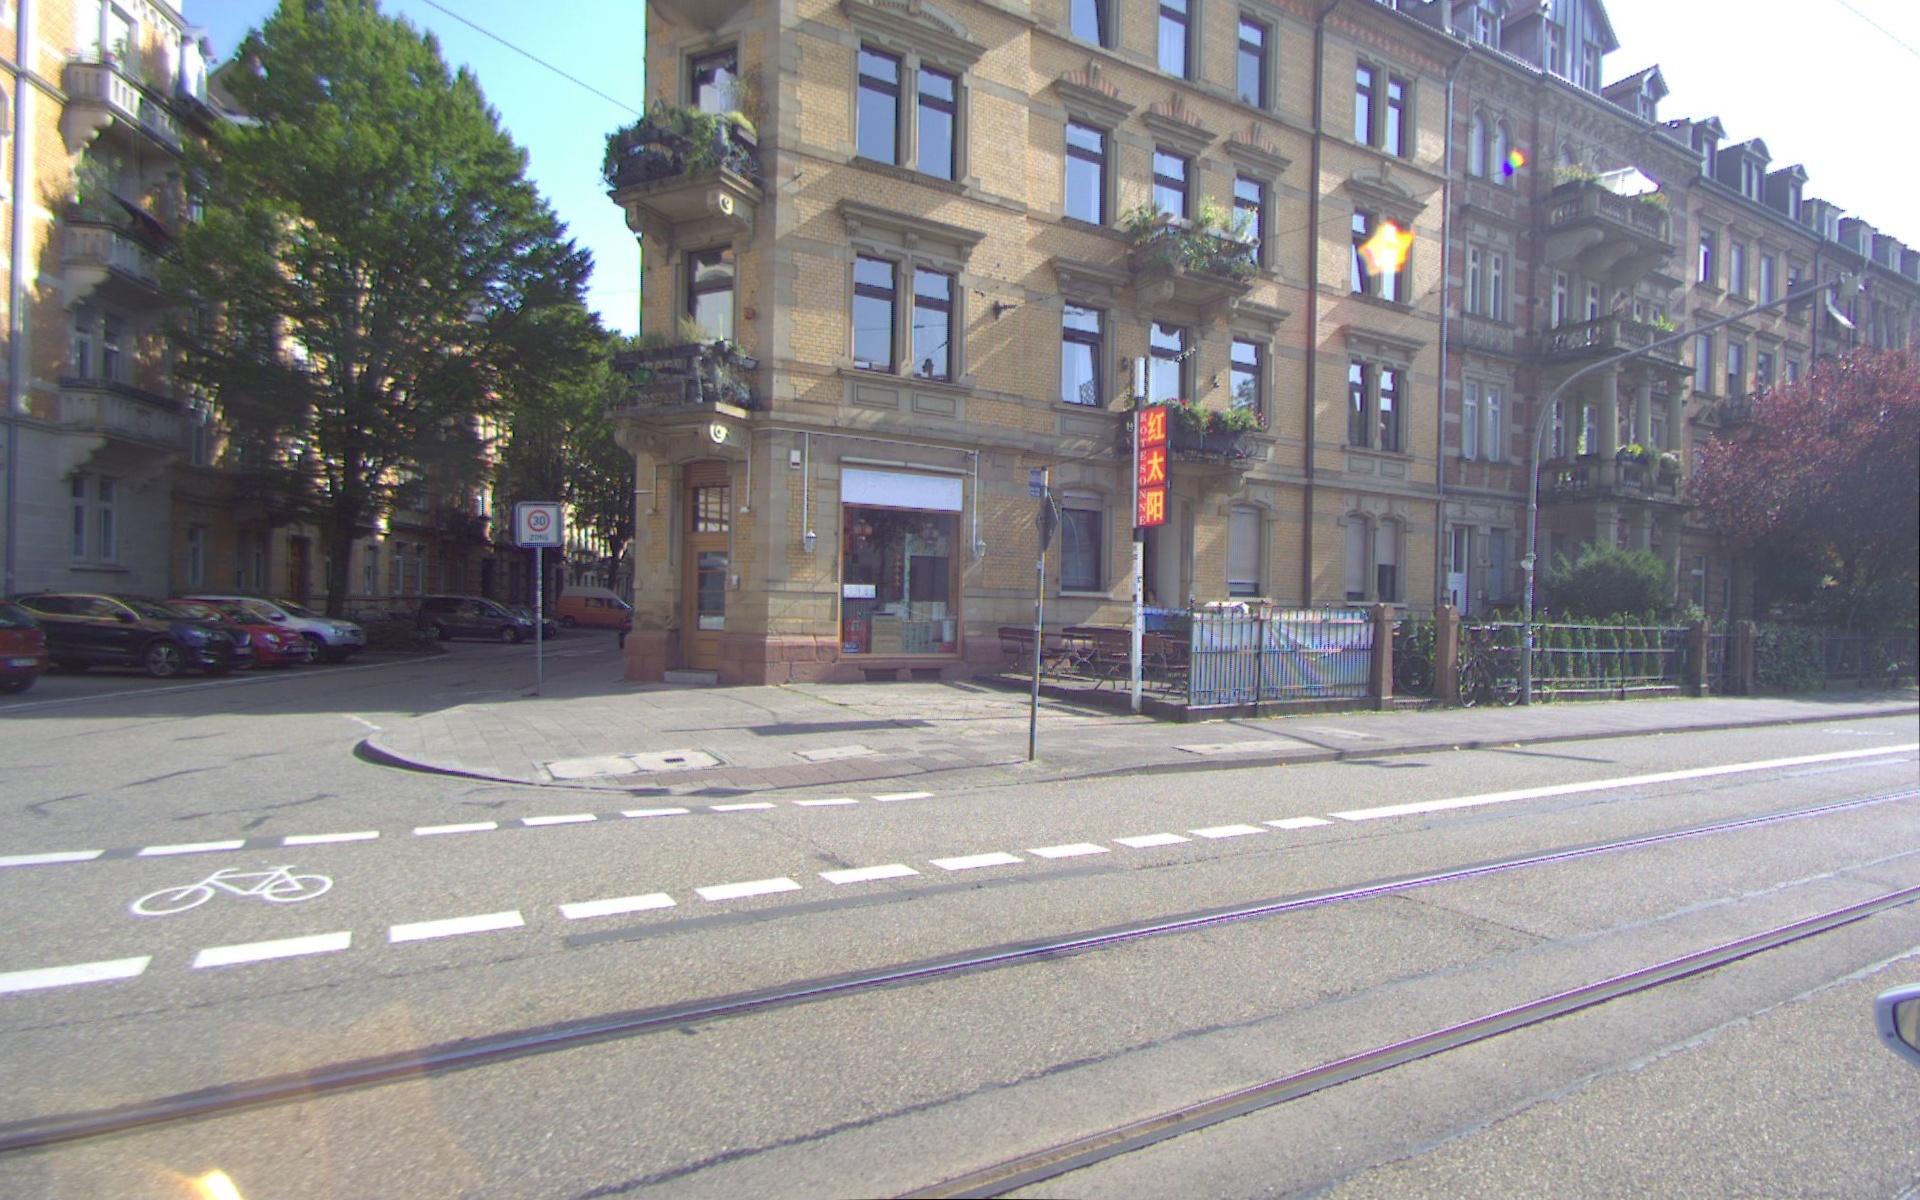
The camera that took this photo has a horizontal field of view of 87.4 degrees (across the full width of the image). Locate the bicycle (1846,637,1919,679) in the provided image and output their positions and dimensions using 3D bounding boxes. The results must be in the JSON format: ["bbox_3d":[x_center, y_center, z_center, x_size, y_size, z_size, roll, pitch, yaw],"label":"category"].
[{"bbox_3d":[26.990,1.670,29.030,0.582,1.118,2.004,1,-1,-32],"label":"bicycle"}]

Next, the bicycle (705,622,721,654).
[{"bbox_3d":[-8.508,1.304,34.606,0.409,1.074,1.359,1,-1,-10],"label":"bicycle"}]

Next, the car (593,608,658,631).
[{"bbox_3d":[-22.944,1.340,69.092,3.927,1.514,1.997,1,-1,-9],"label":"car"}]

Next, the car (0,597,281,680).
[{"bbox_3d":[-15.914,0.749,19.691,3.874,1.474,1.765,2,-1,-10],"label":"car"}]

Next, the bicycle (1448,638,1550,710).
[{"bbox_3d":[8.882,1.198,16.525,1.979,1.122,0.506,2,0,-30],"label":"bicycle"}]

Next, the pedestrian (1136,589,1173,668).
[{"bbox_3d":[4.260,0.624,22.028,0.576,1.689,0.545,1,-1,-41],"label":"pedestrian"}]

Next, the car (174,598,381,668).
[{"bbox_3d":[-16.818,0.809,24.927,3.821,1.627,1.765,1,-1,-10],"label":"car"}]

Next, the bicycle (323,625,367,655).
[{"bbox_3d":[-22.504,1.450,36.796,0.582,1.082,2.009,1,-1,-8],"label":"bicycle"}]

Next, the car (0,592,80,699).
[{"bbox_3d":[-15.757,0.626,14.838,3.702,1.546,1.764,1,-1,-12],"label":"car"}]

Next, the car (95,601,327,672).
[{"bbox_3d":[-16.626,0.807,22.490,3.702,1.474,1.764,1,-1,-12],"label":"car"}]

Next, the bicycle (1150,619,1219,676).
[{"bbox_3d":[4.431,0.917,19.924,0.412,1.074,1.475,1,-1,-32],"label":"bicycle"}]

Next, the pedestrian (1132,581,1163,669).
[{"bbox_3d":[4.050,0.532,21.660,0.541,1.874,0.580,1,-1,21],"label":"pedestrian"}]

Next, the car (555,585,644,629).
[{"bbox_3d":[-22.007,0.416,61.519,4.778,2.557,1.932,1,-1,-7],"label":"car"}]

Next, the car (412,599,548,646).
[{"bbox_3d":[-18.768,0.893,39.461,4.461,1.578,1.763,3,-1,-14],"label":"car"}]

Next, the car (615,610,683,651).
[{"bbox_3d":[-11.379,1.100,36.987,1.710,1.387,3.995,1,-1,-8],"label":"car"}]

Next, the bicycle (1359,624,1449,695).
[{"bbox_3d":[7.479,0.985,16.962,0.412,1.074,1.350,1,1,-32],"label":"bicycle"}]
